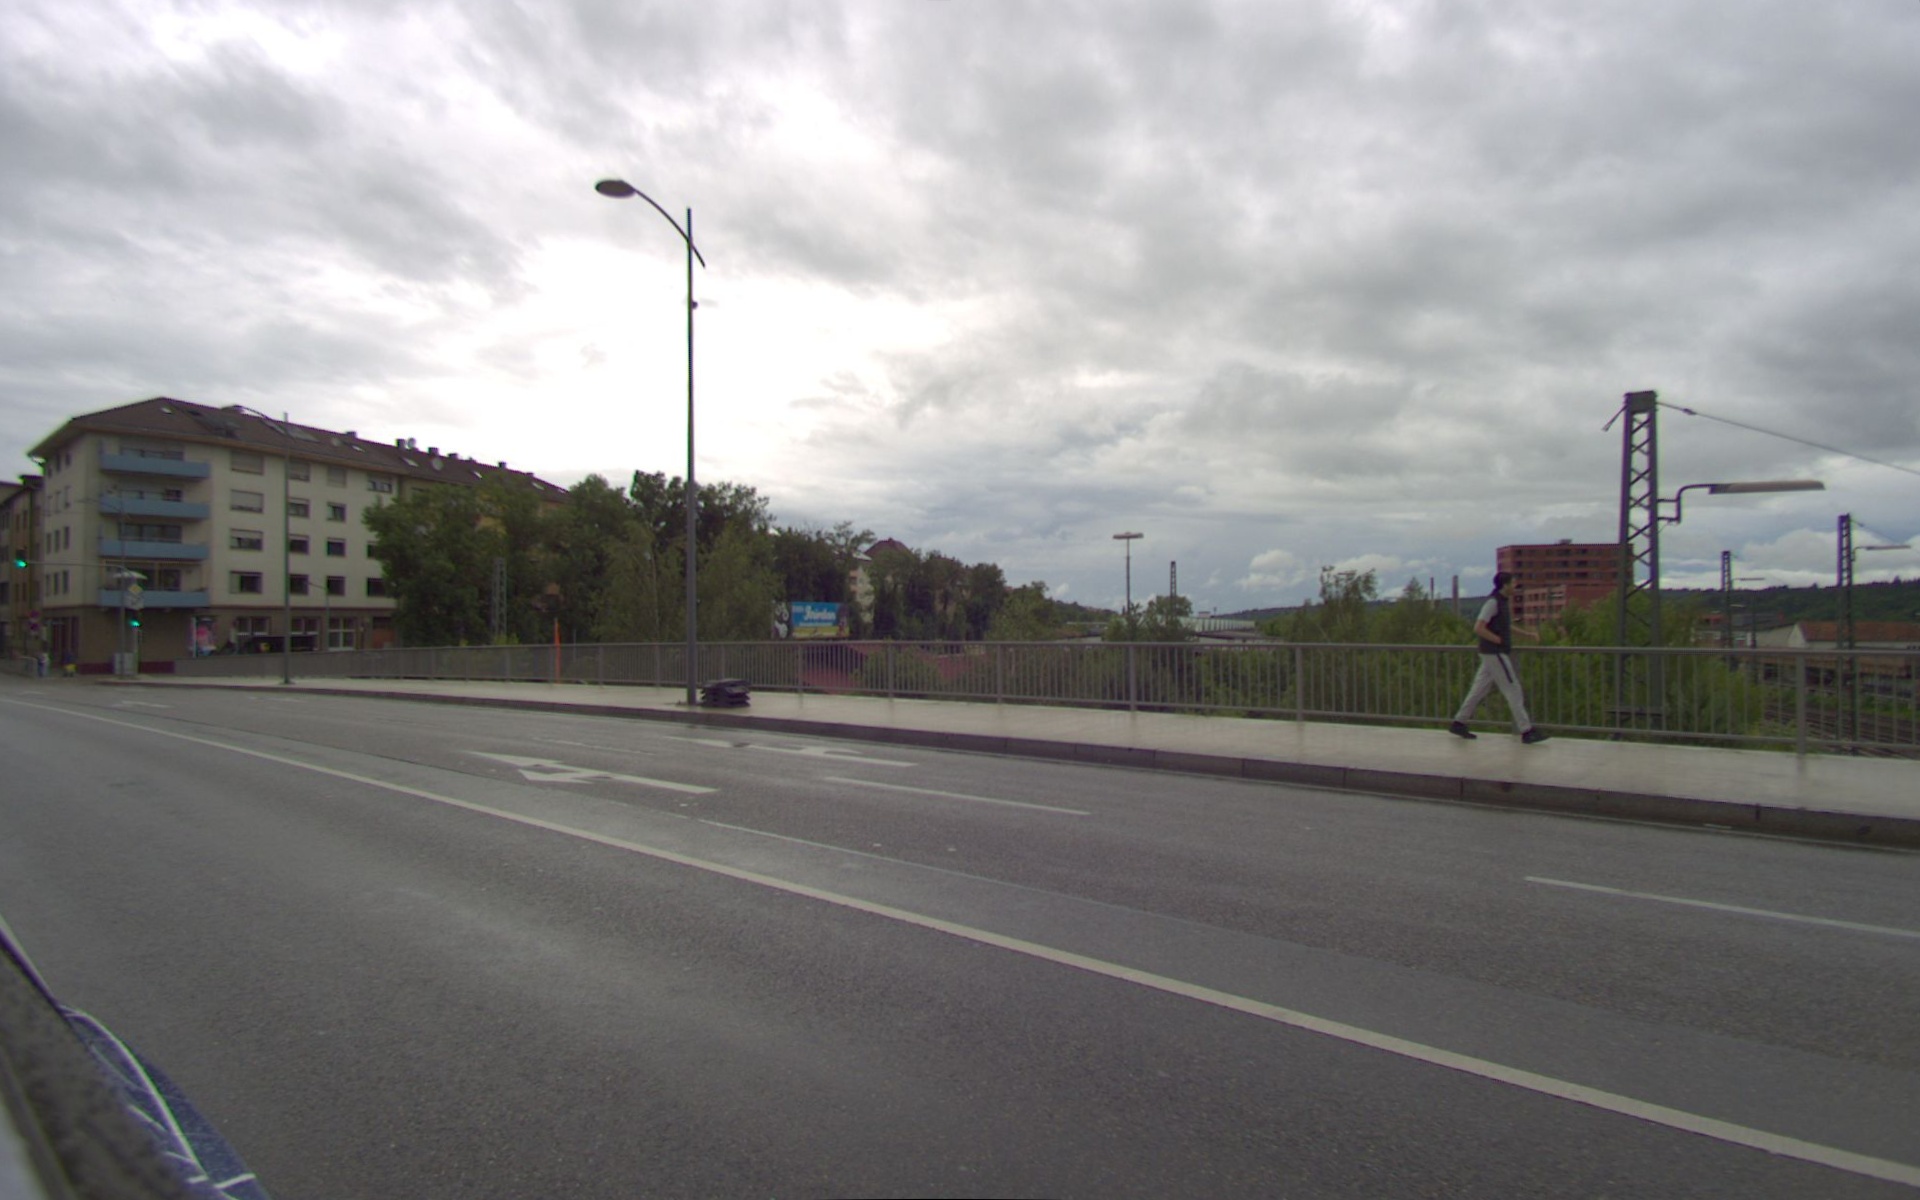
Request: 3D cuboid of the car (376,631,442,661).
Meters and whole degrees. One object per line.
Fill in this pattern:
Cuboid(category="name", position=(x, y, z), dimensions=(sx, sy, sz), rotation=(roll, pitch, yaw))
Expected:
Cuboid(category="car", position=(-41.191, 3.409, 75.753), dimensions=(2.112, 2.029, 4.340), rotation=(-1, -1, 11))

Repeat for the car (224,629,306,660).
Cuboid(category="car", position=(-48.855, 3.088, 71.213), dimensions=(2.119, 2.029, 4.326), rotation=(-2, -1, 20))
